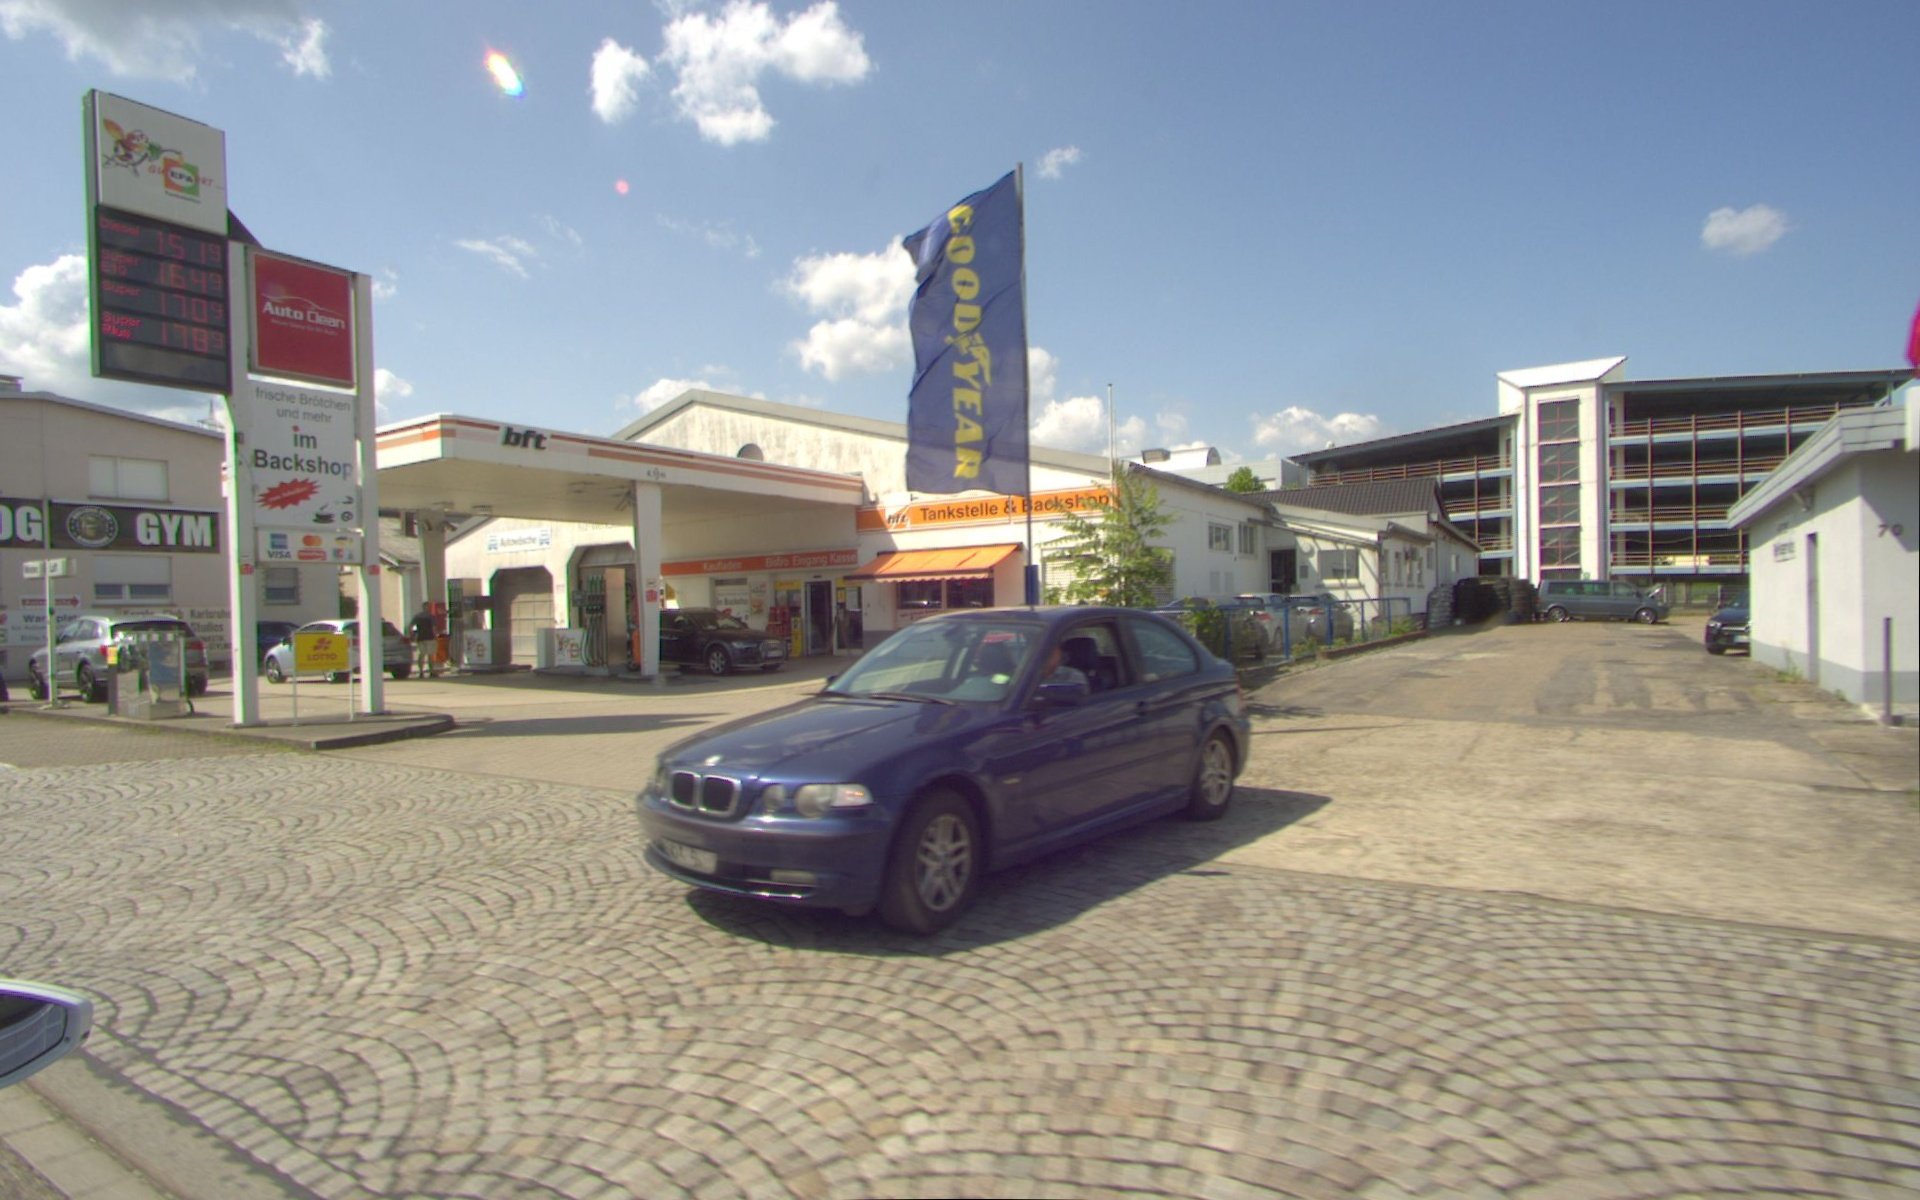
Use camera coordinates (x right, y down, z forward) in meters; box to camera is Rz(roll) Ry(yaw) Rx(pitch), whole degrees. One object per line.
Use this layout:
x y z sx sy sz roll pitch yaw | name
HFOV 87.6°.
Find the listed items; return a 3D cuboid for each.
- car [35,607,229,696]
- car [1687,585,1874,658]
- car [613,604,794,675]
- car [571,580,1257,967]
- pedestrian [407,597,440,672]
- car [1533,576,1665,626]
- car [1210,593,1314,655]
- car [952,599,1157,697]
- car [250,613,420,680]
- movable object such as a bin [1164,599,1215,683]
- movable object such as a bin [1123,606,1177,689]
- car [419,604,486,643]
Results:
-17.130 1.040 20.656 4.554 1.646 1.941 -2 -2 35 | car
16.764 0.441 20.443 3.617 1.370 1.632 1 -1 -27 | car
-6.202 0.880 24.041 4.429 1.540 1.678 0 1 34 | car
0.070 0.707 5.772 1.629 1.426 4.034 -3 -3 41 | car
-13.127 0.851 24.496 0.569 1.799 0.496 -2 -2 31 | pedestrian
28.808 0.078 45.344 4.872 2.039 1.965 -2 -2 29 | car
7.721 0.575 25.461 1.507 1.443 3.573 -2 0 34 | car
1.764 0.760 17.393 1.748 1.443 4.123 -2 0 34 | car
-15.333 1.143 24.517 4.359 1.490 1.688 -2 0 31 | car
3.948 0.694 17.227 0.696 1.409 0.579 -1 0 31 | movable object such as a bin
3.095 0.775 16.304 0.696 1.313 0.579 -2 -2 32 | movable object such as a bin
-28.541 1.362 56.291 3.792 2.057 1.783 -2 -3 33 | car
